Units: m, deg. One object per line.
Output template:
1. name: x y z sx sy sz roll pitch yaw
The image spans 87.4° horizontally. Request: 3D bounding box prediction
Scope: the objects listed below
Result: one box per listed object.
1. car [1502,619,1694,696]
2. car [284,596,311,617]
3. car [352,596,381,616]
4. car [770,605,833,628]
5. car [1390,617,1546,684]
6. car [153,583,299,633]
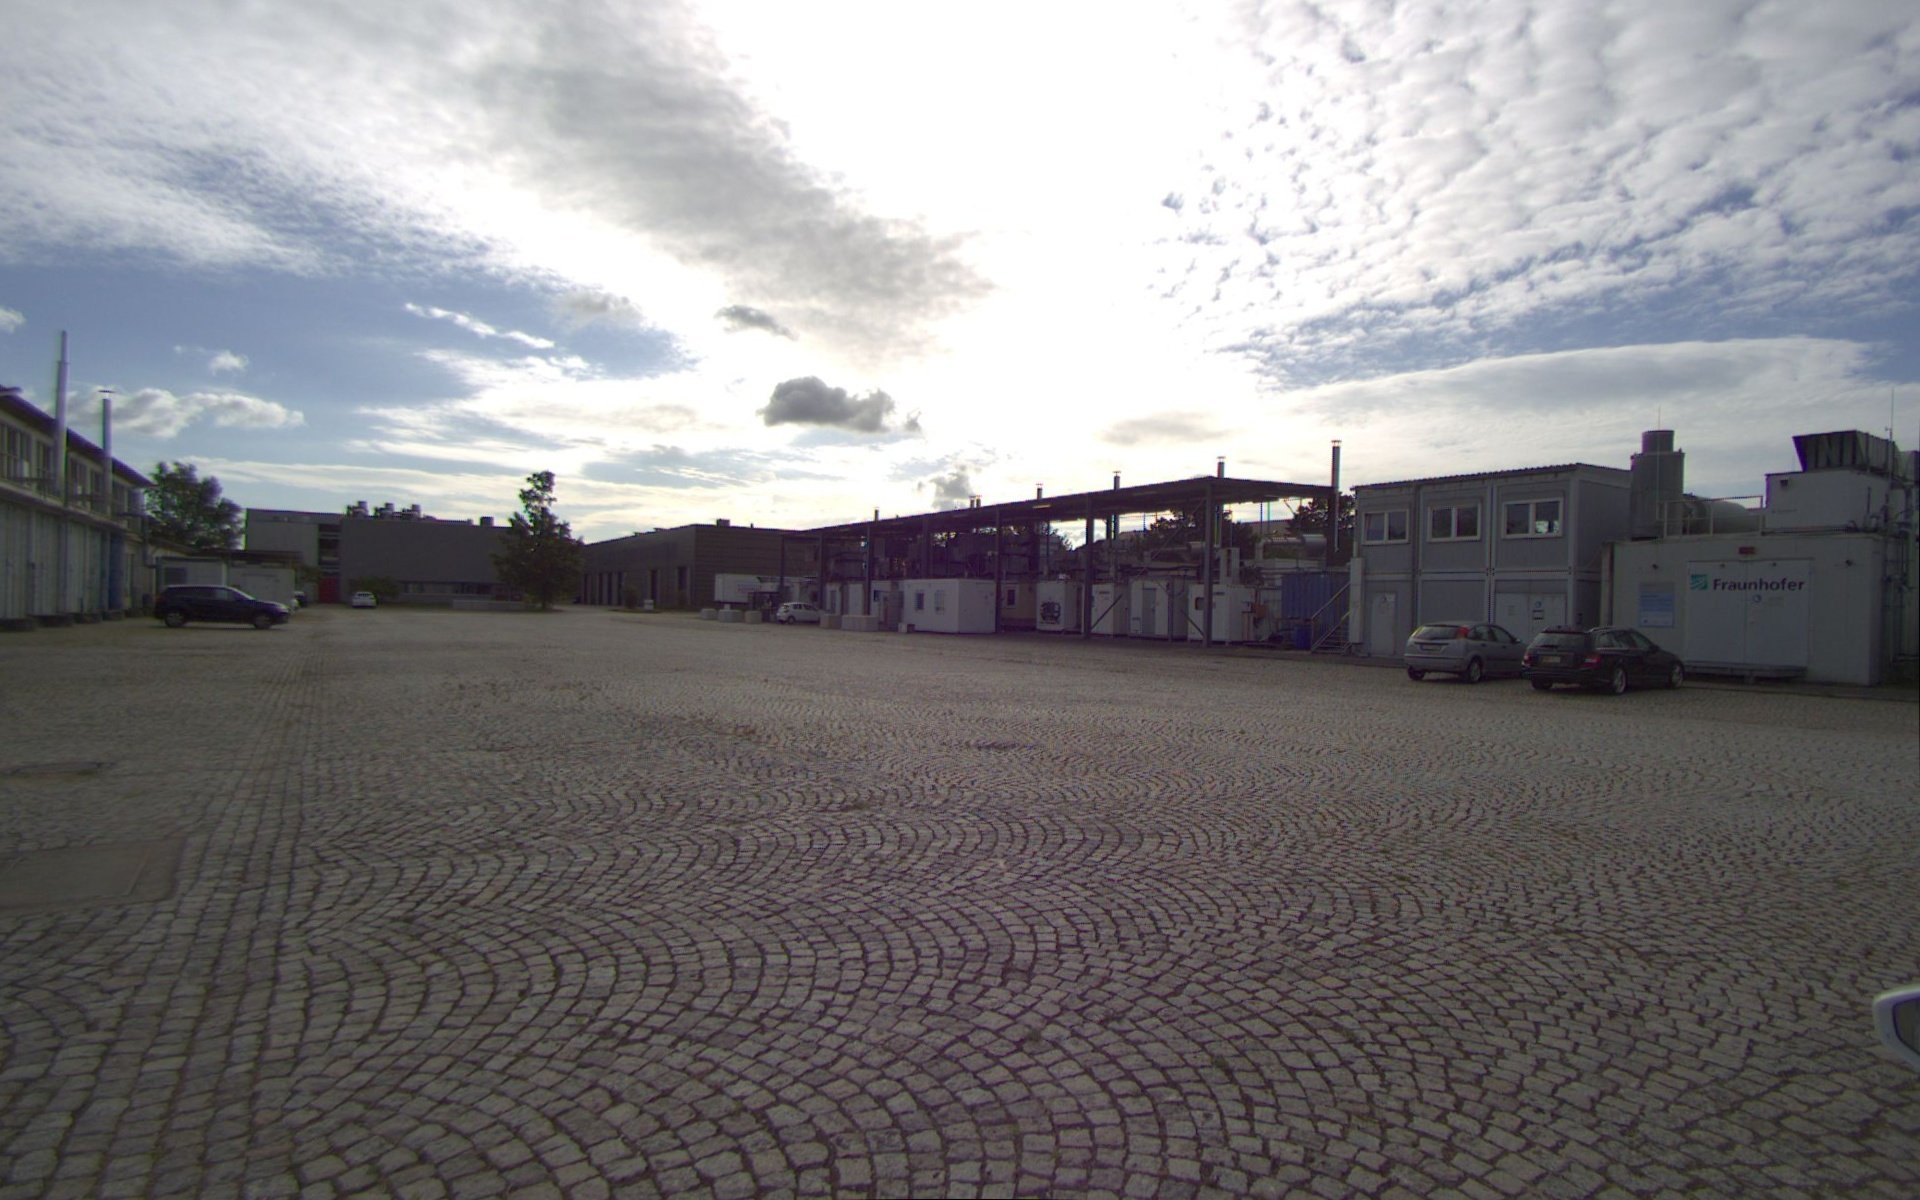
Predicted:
1. car: 14.553 1.224 22.853 4.480 1.472 2.025 -1 0 -33
2. car: -58.734 0.565 89.092 1.979 1.834 3.964 1 -1 -33
3. car: -54.604 0.553 92.352 2.131 1.834 3.964 1 -1 -33
4. car: -11.317 1.168 71.624 3.959 1.512 1.981 2 -1 -34
5. car: 13.015 1.235 25.685 4.005 1.495 1.894 0 0 -35
6. car: -28.119 0.368 38.699 4.389 1.779 1.982 1 -3 -34
